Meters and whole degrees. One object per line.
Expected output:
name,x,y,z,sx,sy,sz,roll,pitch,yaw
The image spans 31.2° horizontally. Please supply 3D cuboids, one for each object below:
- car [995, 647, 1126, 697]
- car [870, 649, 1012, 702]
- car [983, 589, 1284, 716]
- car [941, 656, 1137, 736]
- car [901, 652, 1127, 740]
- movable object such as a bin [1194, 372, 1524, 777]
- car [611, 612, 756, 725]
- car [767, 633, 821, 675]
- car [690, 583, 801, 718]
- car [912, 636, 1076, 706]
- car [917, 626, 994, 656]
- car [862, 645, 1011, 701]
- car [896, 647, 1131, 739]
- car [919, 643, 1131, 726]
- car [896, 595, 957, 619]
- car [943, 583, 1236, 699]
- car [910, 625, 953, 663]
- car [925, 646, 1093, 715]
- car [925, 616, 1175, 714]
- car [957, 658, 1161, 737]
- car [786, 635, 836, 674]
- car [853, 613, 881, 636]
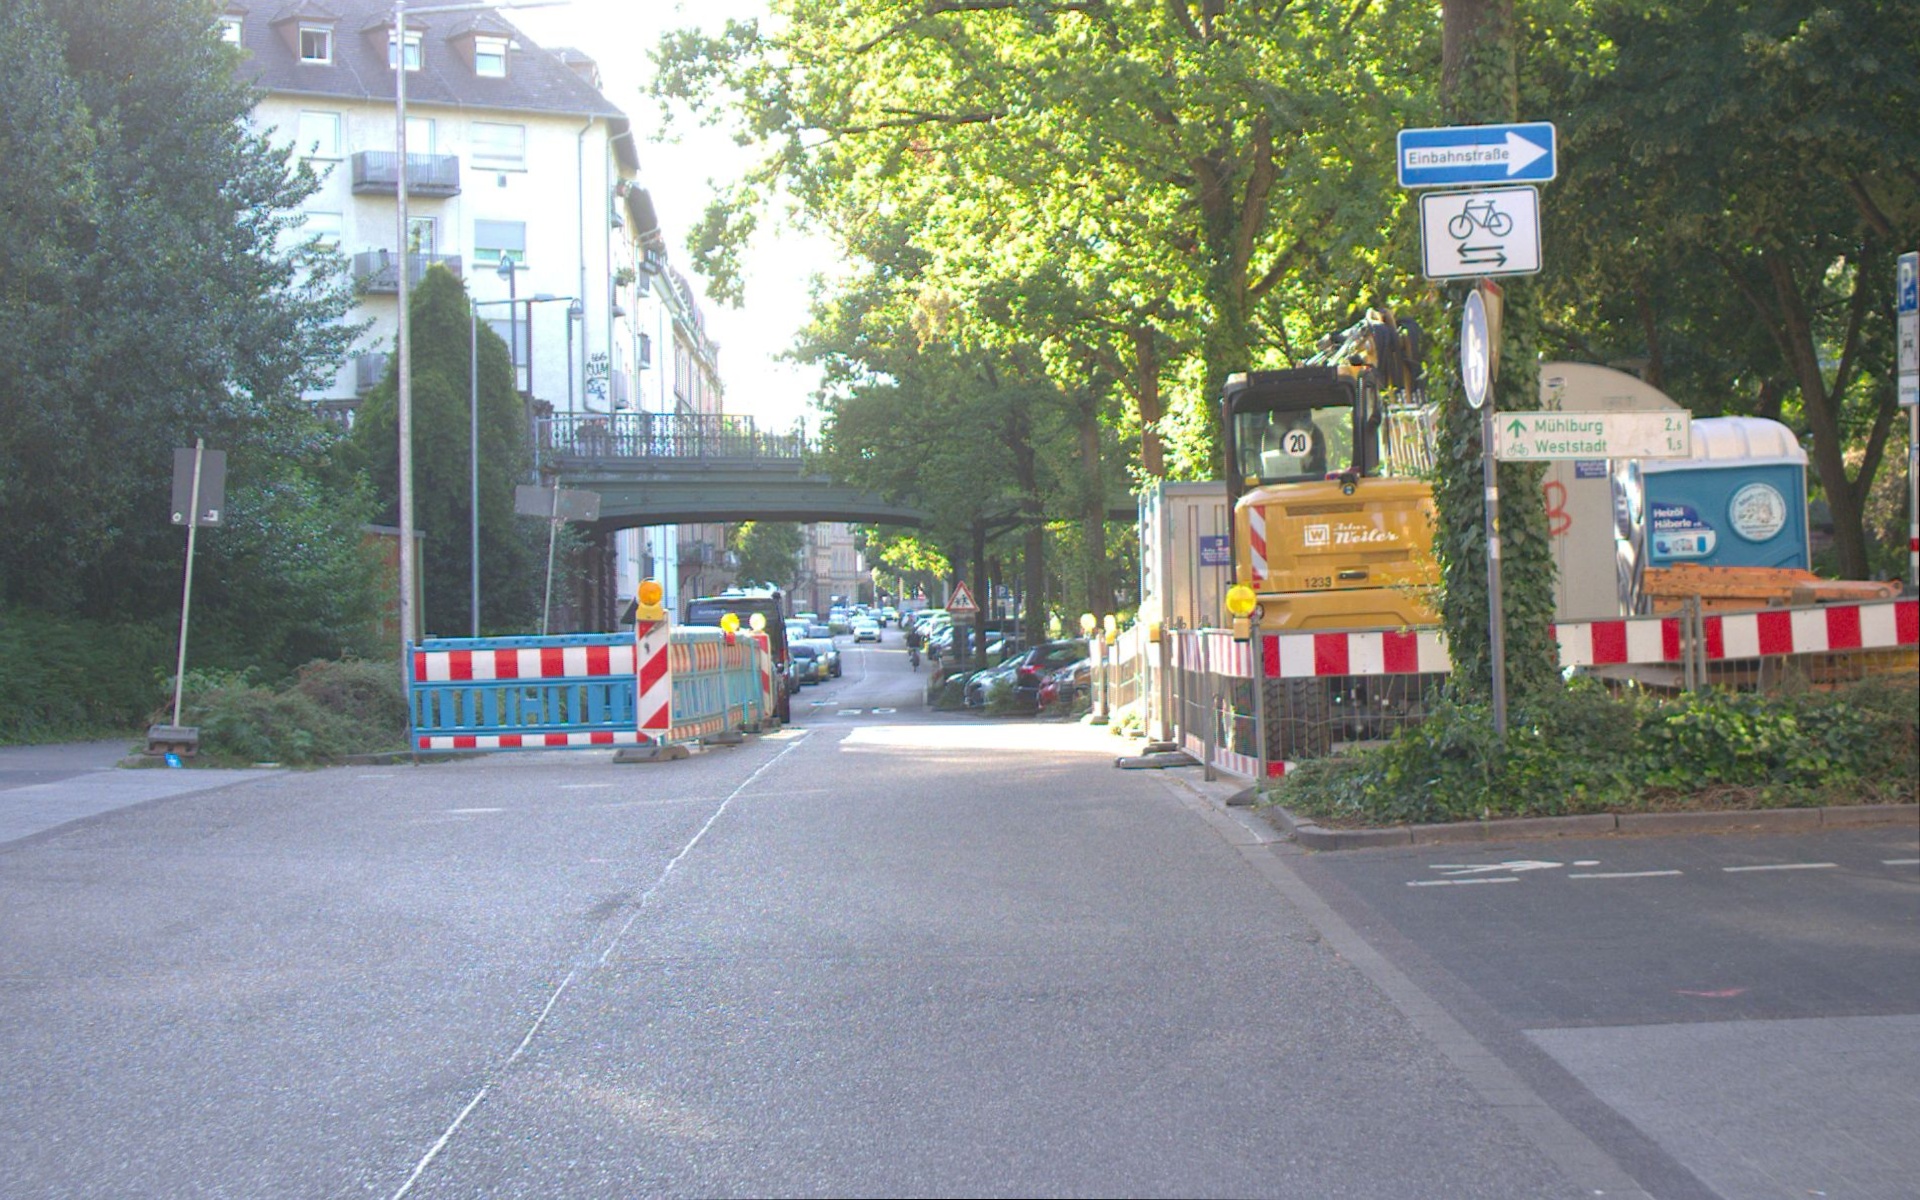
car,3.383,2.446,116.302,4.387,1.604,1.781,0,-3,0
car,-0.626,2.390,108.291,4.387,1.604,1.781,1,-3,-3
car,2.828,0.887,56.576,4.741,1.990,1.917,1,-3,-4
car,1.793,2.228,79.354,4.387,1.779,1.917,1,-3,-3
car,1.058,1.924,68.738,4.387,1.696,1.917,1,-3,-3
movable object such as a bin,2.915,-0.172,24.576,1.995,2.690,3.108,-1,0,13
car,-3.731,0.958,46.920,1.715,1.413,4.106,-2,-2,-2
car,-5.968,1.970,123.956,1.812,1.393,3.975,-2,-2,-2
car,-4.140,1.039,66.924,2.047,2.489,5.697,1,-2,-3
car,0.919,1.950,94.274,4.387,1.855,1.917,1,-3,-3
car,-0.266,2.356,196.260,4.387,1.604,1.781,0,-3,0
car,-0.720,2.183,102.665,4.387,1.604,1.781,1,-3,-3
car,0.994,1.802,65.844,4.387,1.696,1.917,1,-3,-3
car,1.359,1.821,73.424,4.387,1.696,1.917,1,-3,-3
car,-2.415,0.481,247.178,4.387,1.604,1.781,0,-3,0
car,1.972,0.651,53.306,4.387,1.696,1.917,1,-3,-3
car,-1.222,1.879,146.209,1.775,1.604,4.401,0,-1,-1
car,1.287,2.158,92.190,4.387,1.779,1.917,1,-3,-3
car,1.603,1.196,62.194,4.387,1.696,1.917,1,-3,-3
car,2.174,2.182,76.532,4.387,1.696,1.917,1,-3,-3
car,-5.784,2.135,133.860,1.812,1.393,3.975,-2,-2,-2
car,-6.279,1.649,232.519,1.812,1.393,3.975,-2,-2,-2
